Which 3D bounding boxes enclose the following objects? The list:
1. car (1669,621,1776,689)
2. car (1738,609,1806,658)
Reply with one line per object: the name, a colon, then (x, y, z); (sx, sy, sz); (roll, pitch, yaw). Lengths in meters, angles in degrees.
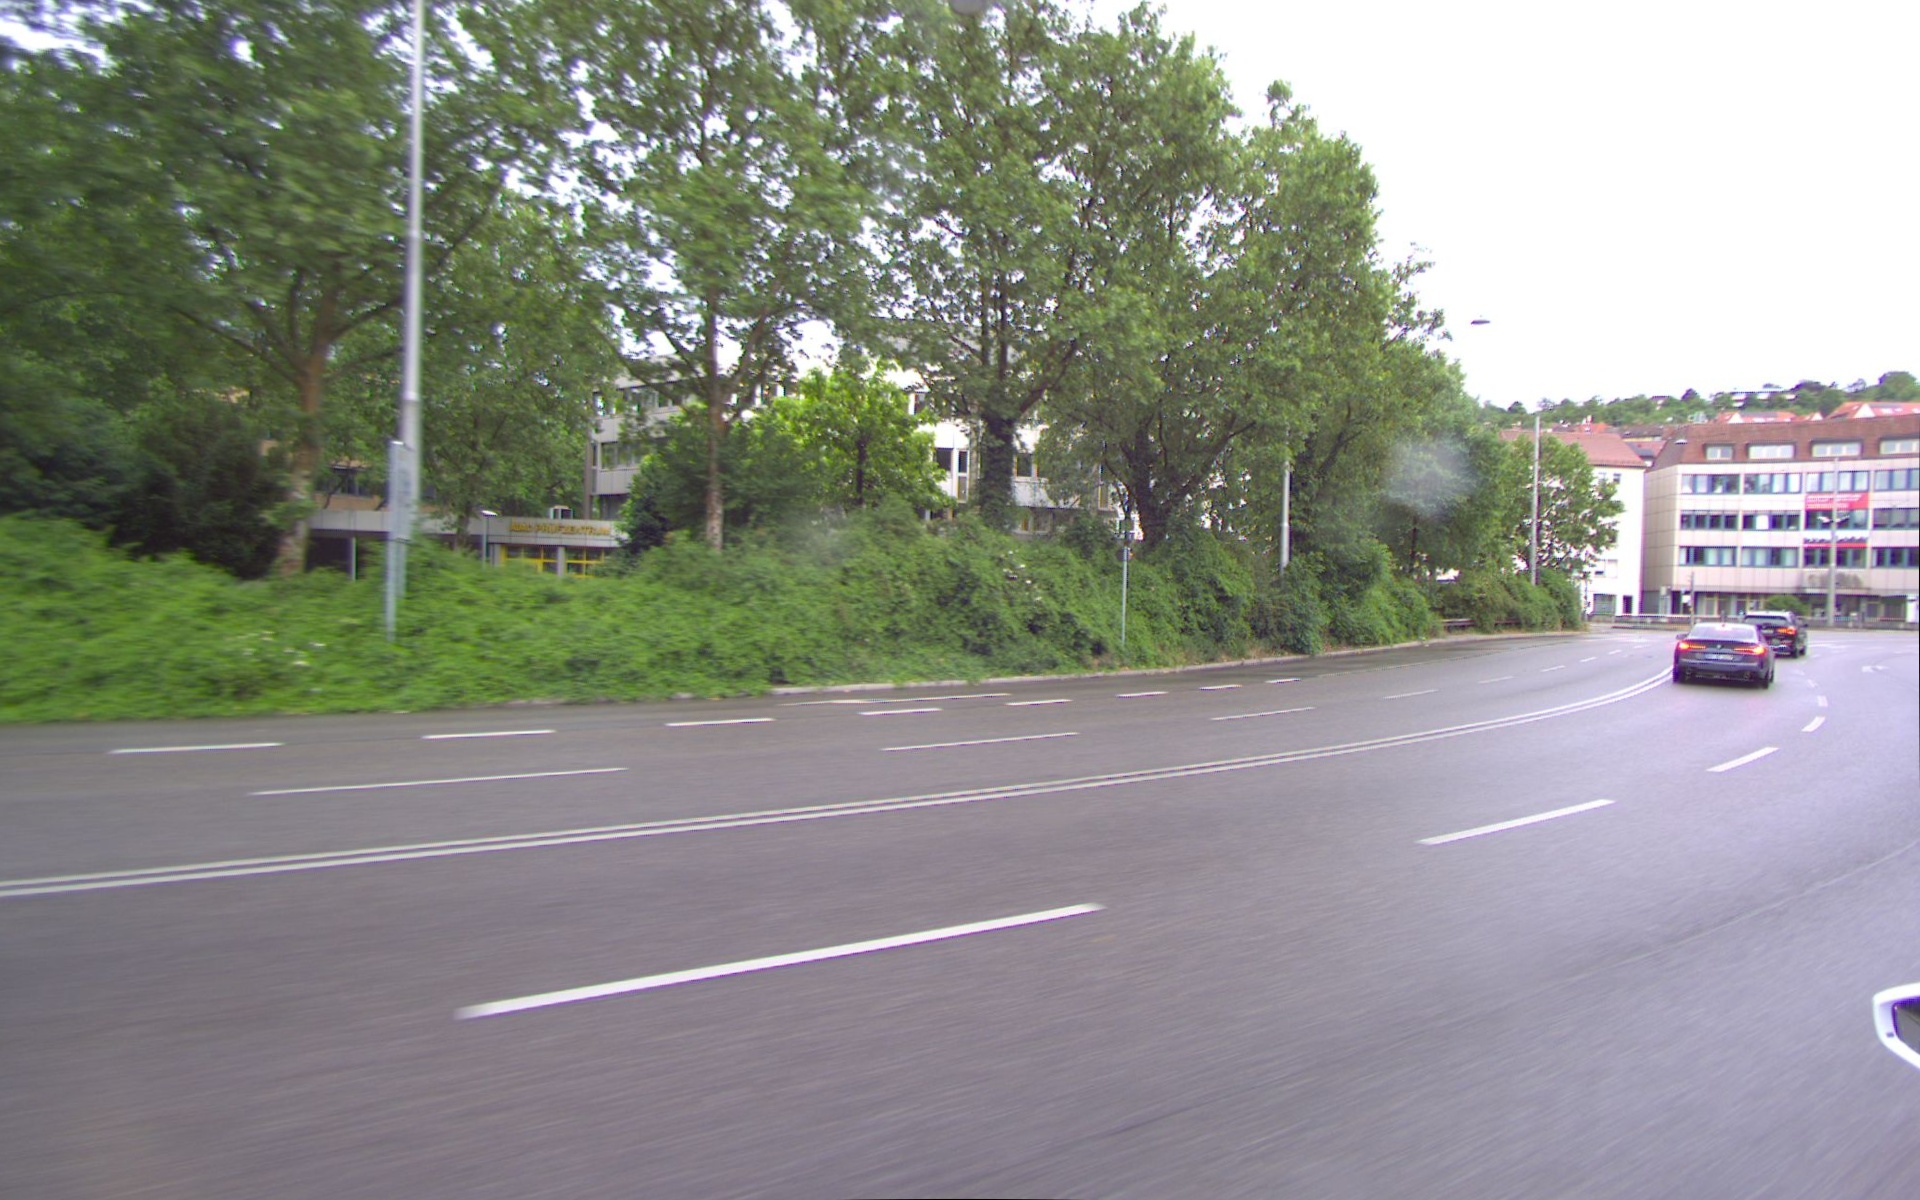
car: (18.432, 1.264, 24.198); (1.770, 1.445, 4.363); (1, -1, 41)
car: (30.500, 1.245, 37.758); (1.877, 1.716, 3.982); (1, -1, 39)
